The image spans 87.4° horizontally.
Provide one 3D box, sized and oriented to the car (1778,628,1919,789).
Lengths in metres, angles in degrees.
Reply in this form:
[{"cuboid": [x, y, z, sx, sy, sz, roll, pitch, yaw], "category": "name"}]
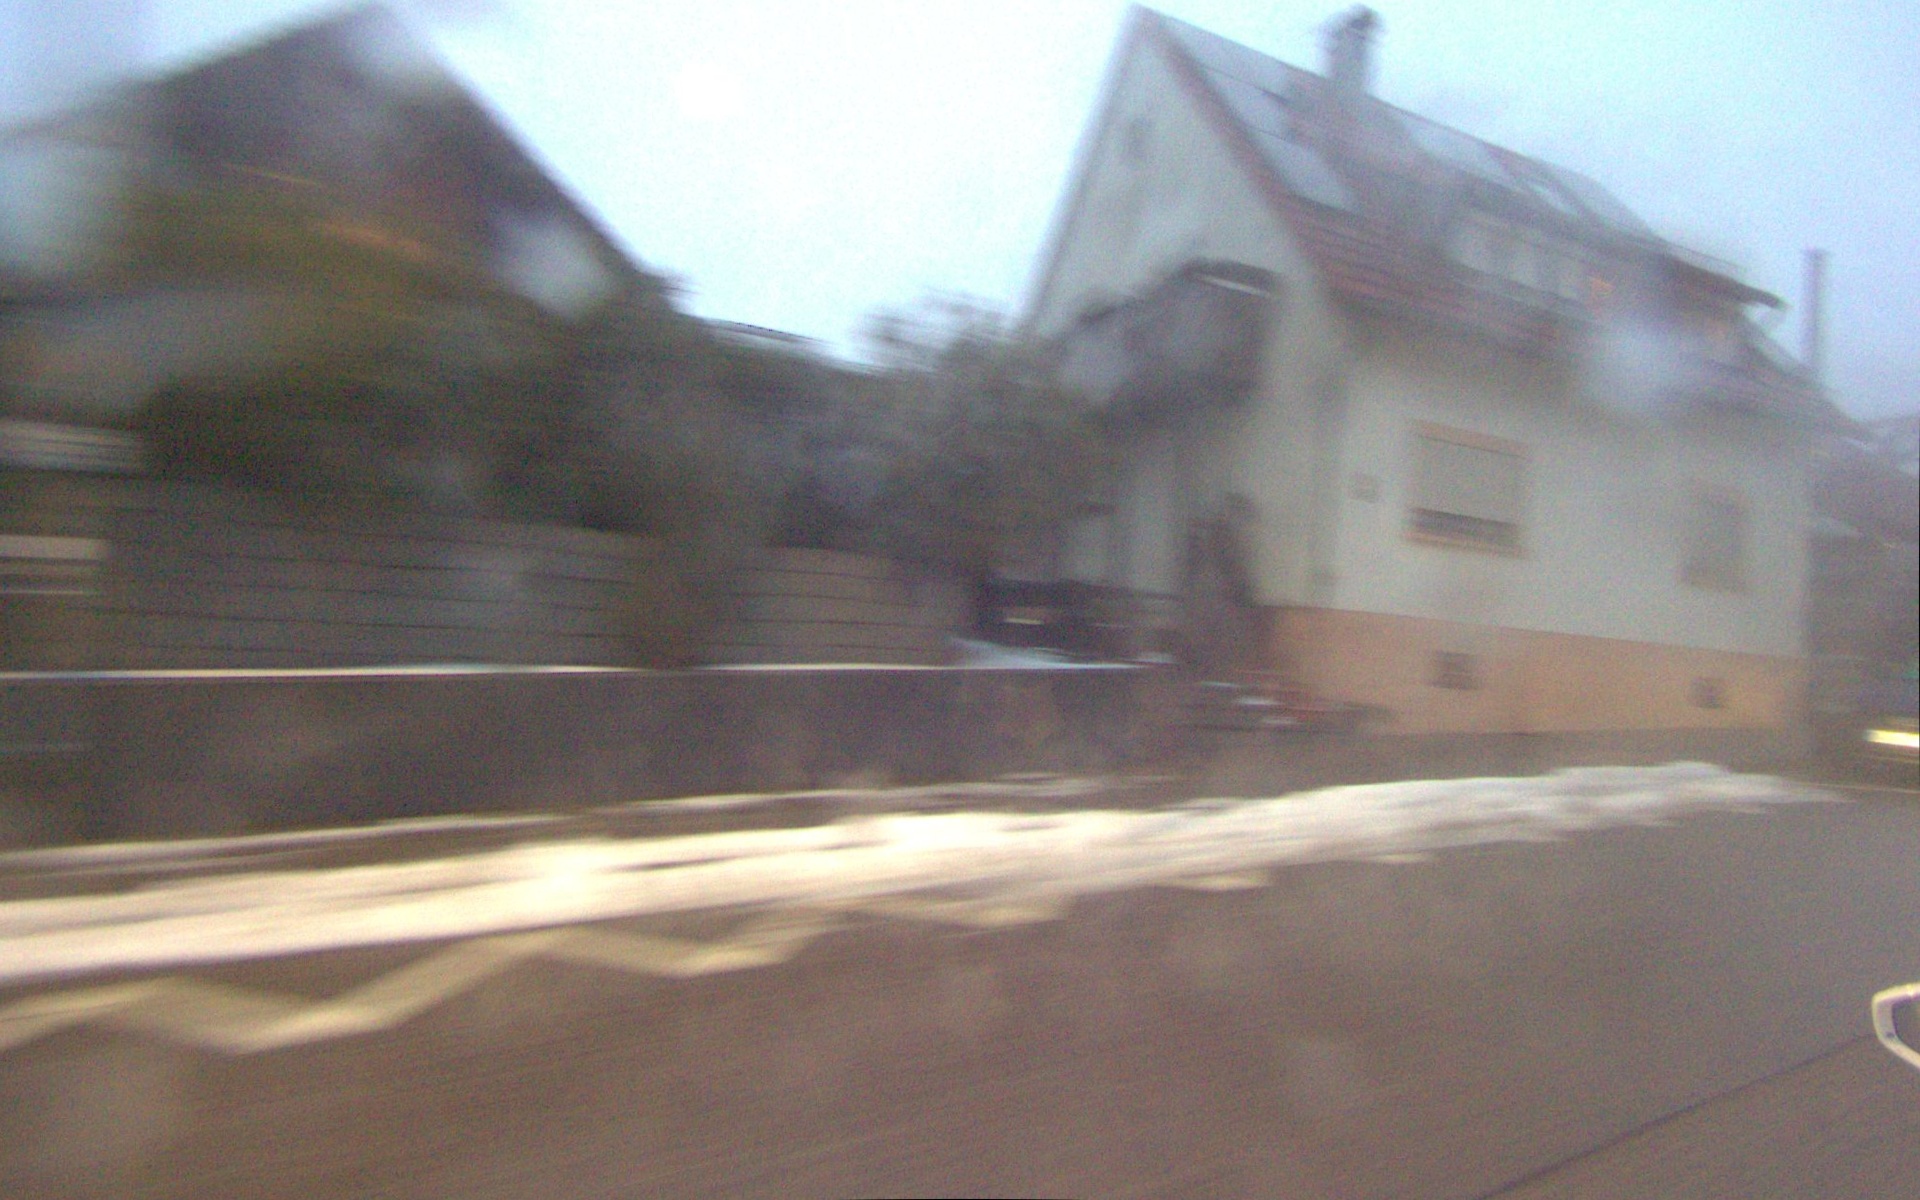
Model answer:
[{"cuboid": [11.198, 1.101, 10.574, 5.319, 1.445, 1.871, 2, 0, -25], "category": "car"}]
